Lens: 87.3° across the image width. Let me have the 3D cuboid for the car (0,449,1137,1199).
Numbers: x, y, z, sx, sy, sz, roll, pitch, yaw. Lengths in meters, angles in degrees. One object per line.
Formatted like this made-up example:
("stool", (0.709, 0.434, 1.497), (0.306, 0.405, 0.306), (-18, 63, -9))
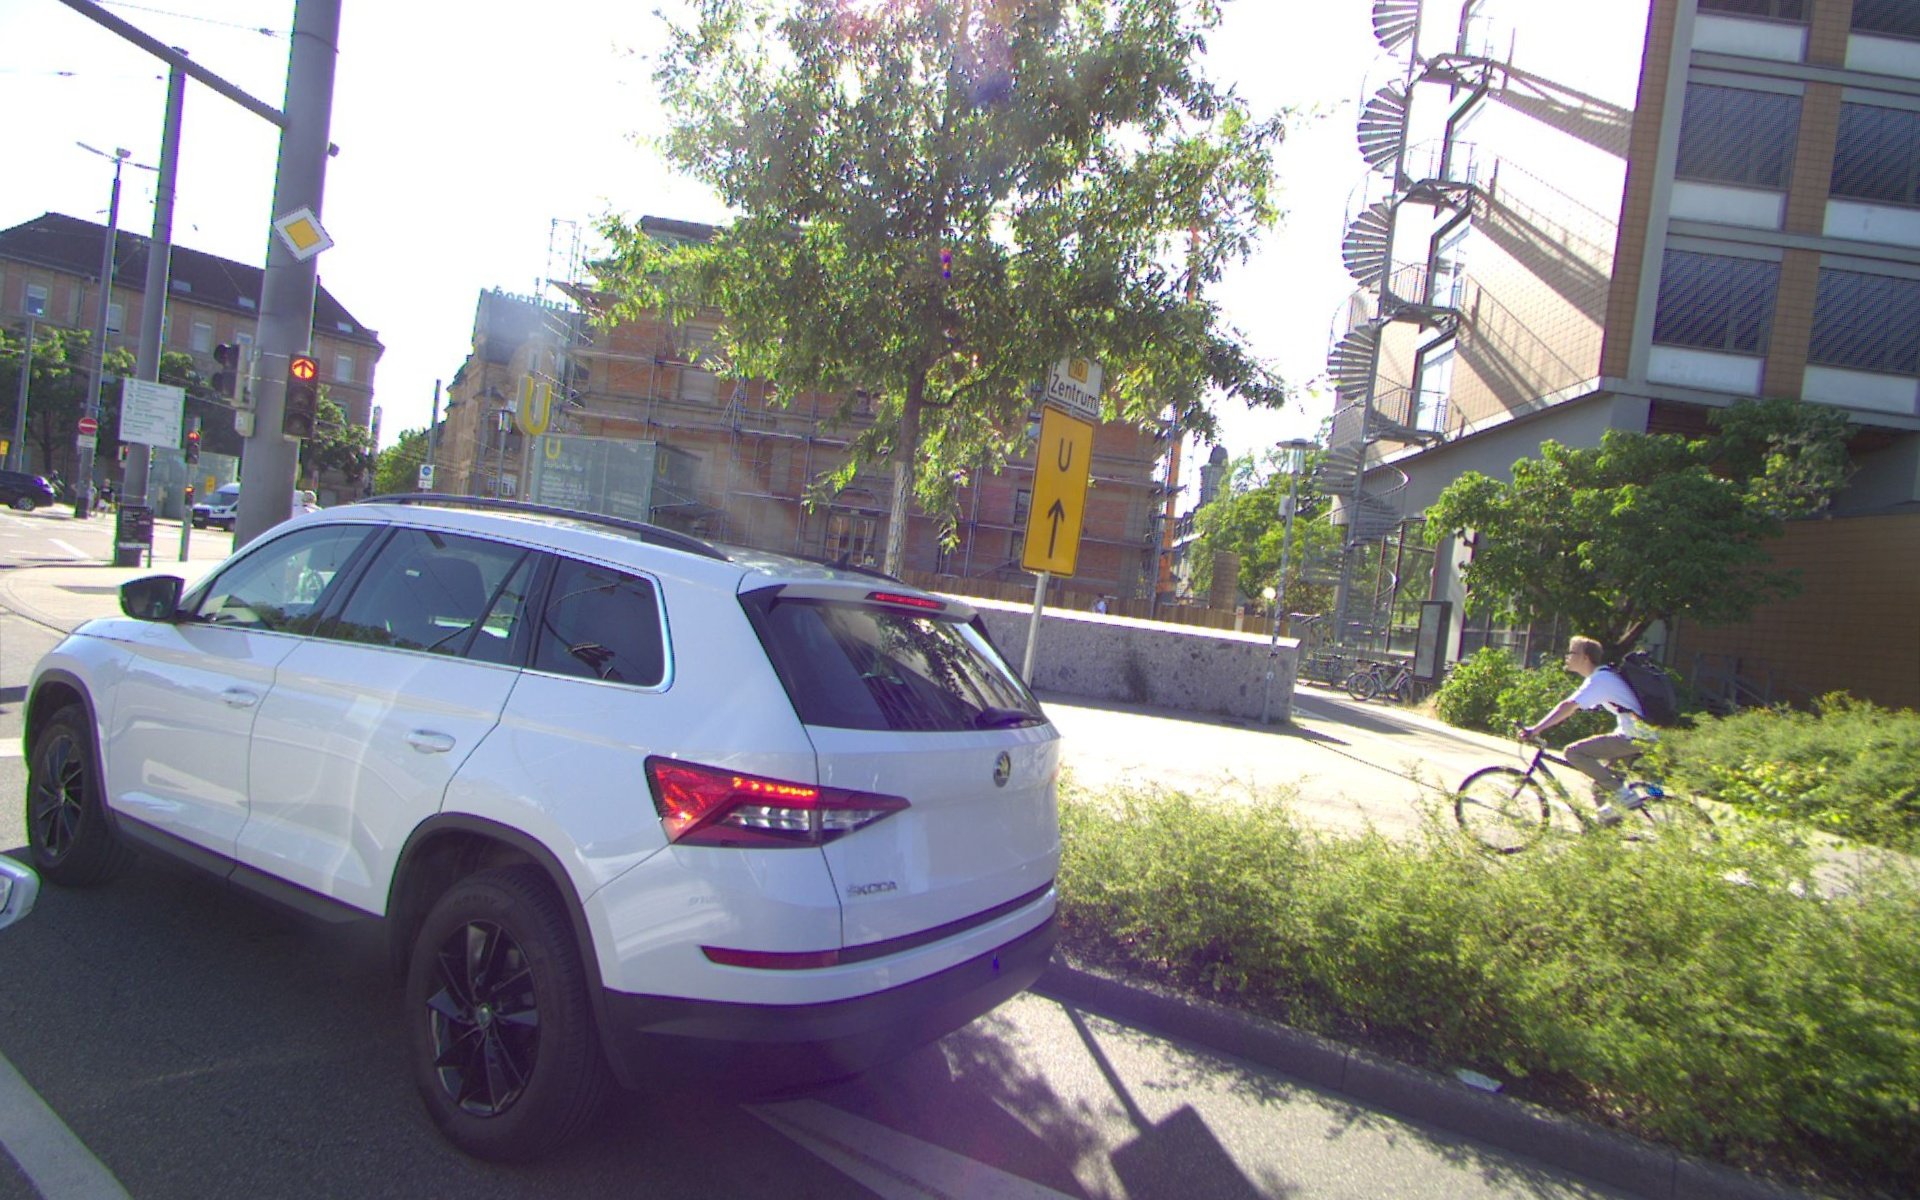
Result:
("car", (-1.721, 0.496, 3.758), (4.225, 1.662, 1.697), (7, 0, 31))

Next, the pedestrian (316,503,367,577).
("pedestrian", (-16.935, -1.623, 27.563), (0.887, 1.883, 0.922), (7, 1, -23))

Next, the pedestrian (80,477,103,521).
("pedestrian", (-42.741, -4.963, 49.516), (0.443, 2.039, 0.574), (7, 1, 14))

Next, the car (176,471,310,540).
("car", (-38.008, -4.930, 53.583), (2.103, 2.778, 5.926), (7, 0, 7))

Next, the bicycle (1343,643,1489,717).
("bicycle", (11.338, 1.977, 25.117), (3.079, 1.395, 0.798), (7, 1, 9))

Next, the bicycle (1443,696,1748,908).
("bicycle", (4.580, 1.410, 7.372), (1.711, 1.139, 0.572), (7, 1, 32))

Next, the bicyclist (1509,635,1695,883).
("bicyclist", (4.650, 1.114, 7.339), (0.931, 1.588, 0.572), (8, 1, 32))

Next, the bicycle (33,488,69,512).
("bicycle", (-49.326, -5.410, 54.600), (0.540, 1.134, 2.012), (7, 0, -16))

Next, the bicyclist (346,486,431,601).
("bicyclist", (-9.700, -0.951, 17.077), (0.908, 1.802, 0.748), (7, 2, 27))

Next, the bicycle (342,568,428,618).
("bicycle", (-9.745, -0.126, 17.045), (1.442, 0.664, 0.538), (7, 2, 27))

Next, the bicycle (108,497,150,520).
("bicycle", (-49.595, -5.442, 60.053), (0.539, 1.134, 2.020), (7, 0, 6))

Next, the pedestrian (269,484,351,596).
("pedestrian", (-9.870, -0.908, 15.278), (0.842, 1.582, 0.549), (7, 1, 24))

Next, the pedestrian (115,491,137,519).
("pedestrian", (-49.607, -5.642, 59.861), (0.538, 1.536, 0.706), (7, 1, 5))

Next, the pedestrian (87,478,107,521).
("pedestrian", (-43.055, -5.007, 50.192), (0.443, 2.039, 0.462), (7, 2, 15))

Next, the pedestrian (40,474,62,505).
("pedestrian", (-49.212, -5.980, 54.466), (0.540, 1.536, 0.704), (7, 1, -17))

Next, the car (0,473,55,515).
("car", (-42.019, -4.788, 43.291), (1.678, 1.521, 4.251), (7, 0, 36))

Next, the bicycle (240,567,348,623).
("bicycle", (-10.203, -0.086, 15.398), (1.694, 0.664, 0.537), (7, 3, 24))
